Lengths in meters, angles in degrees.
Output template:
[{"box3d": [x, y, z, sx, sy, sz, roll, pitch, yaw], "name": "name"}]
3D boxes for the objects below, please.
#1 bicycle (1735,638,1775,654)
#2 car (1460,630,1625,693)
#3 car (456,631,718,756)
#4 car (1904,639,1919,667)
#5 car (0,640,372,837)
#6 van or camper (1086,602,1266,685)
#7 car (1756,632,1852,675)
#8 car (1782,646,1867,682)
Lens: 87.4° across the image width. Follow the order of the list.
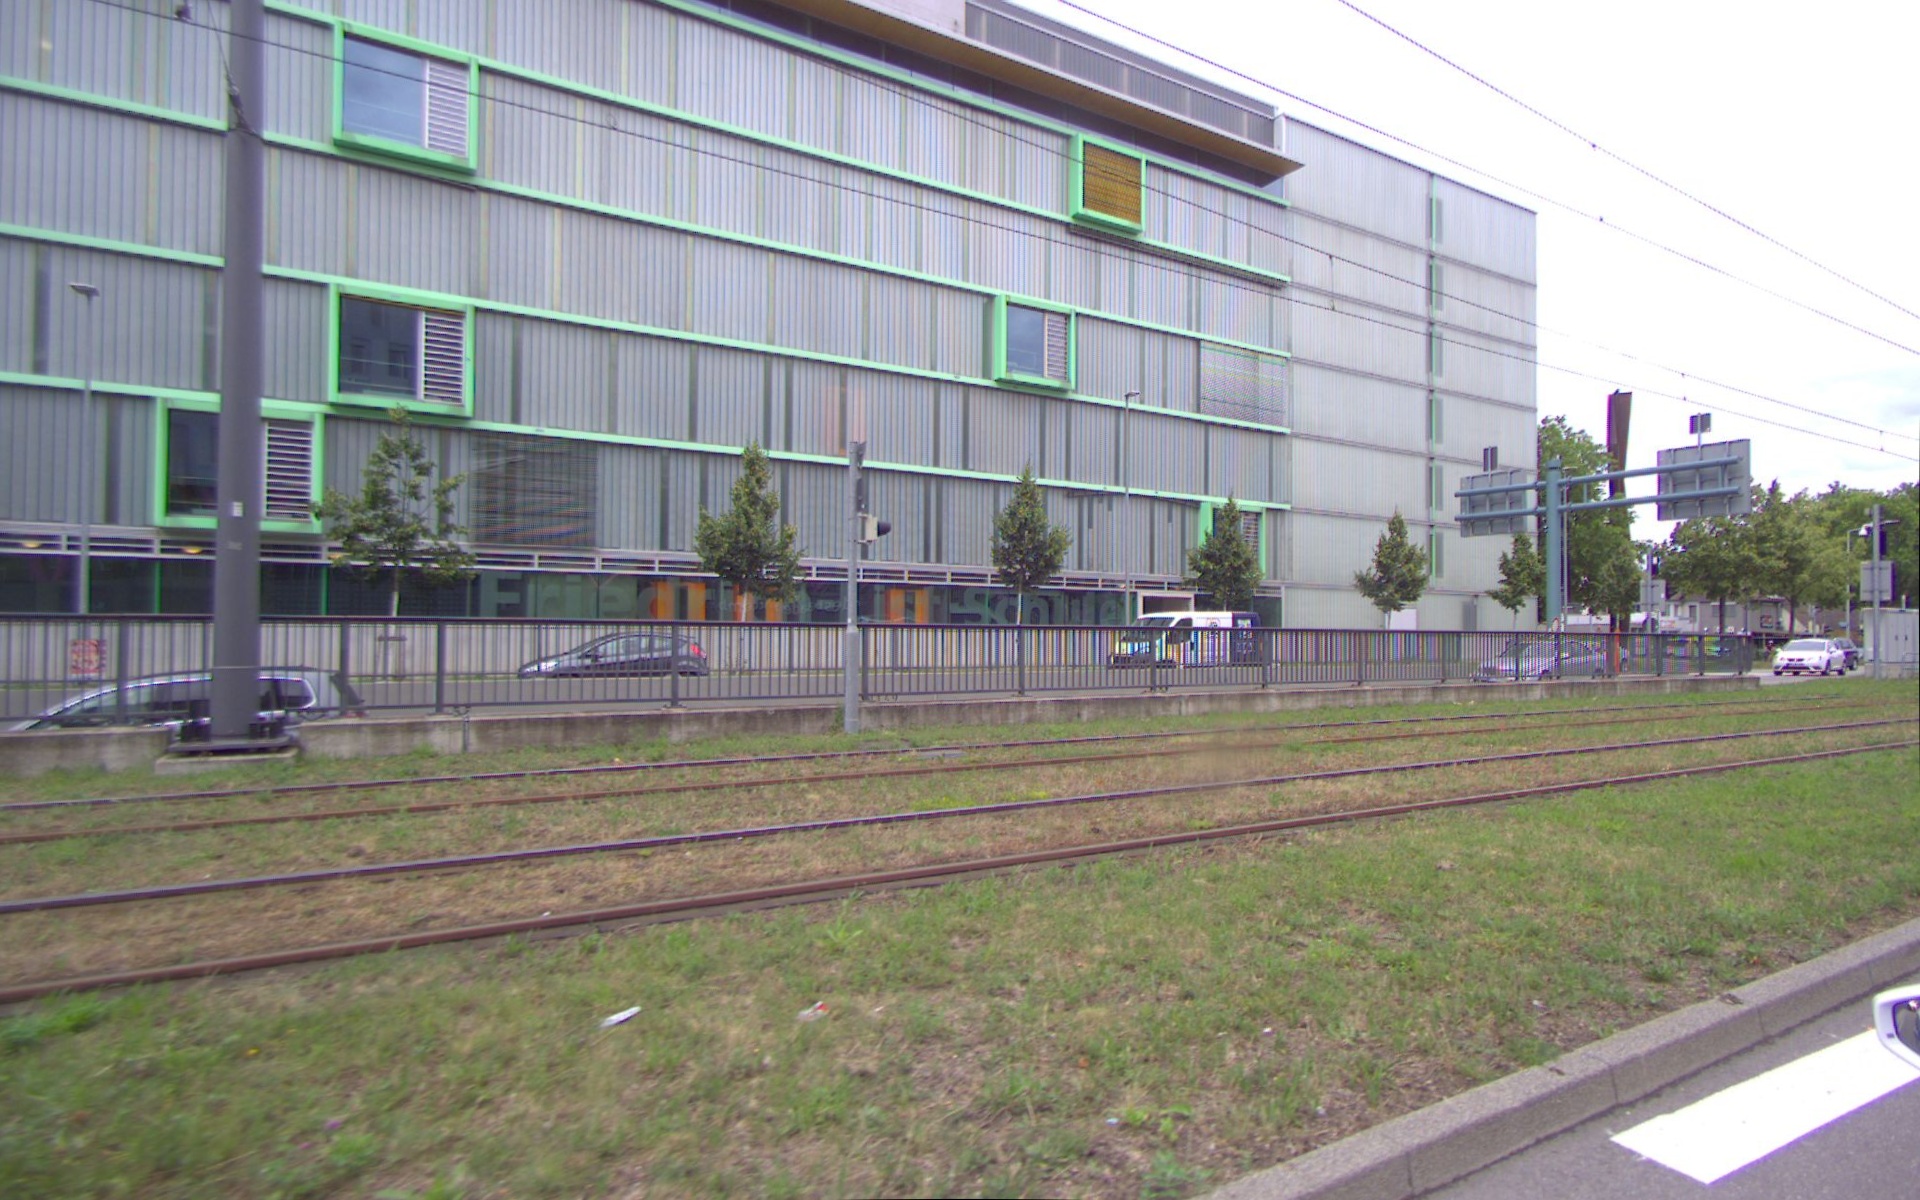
[{"box3d": [64.094, 3.715, 81.036, 2.474, 1.218, 0.738, 0, -2, 35], "name": "bicycle"}, {"box3d": [15.827, 1.605, 27.212, 4.915, 1.535, 1.773, 1, -1, -31], "name": "car"}, {"box3d": [-7.929, 1.868, 21.492, 4.914, 2.041, 1.983, -3, 2, -32], "name": "car"}, {"box3d": [52.118, 2.819, 53.334, 4.520, 1.498, 1.754, 2, -3, -31], "name": "car"}, {"box3d": [-9.832, 1.556, 11.848, 4.914, 1.787, 1.983, -3, 2, -32], "name": "car"}, {"box3d": [6.572, 1.286, 30.406, 5.296, 2.317, 2.162, 1, -2, -30], "name": "van or camper"}, {"box3d": [33.631, 2.087, 39.986, 4.337, 1.607, 1.980, 1, -2, -36], "name": "car"}, {"box3d": [46.809, 3.428, 54.381, 4.909, 1.847, 1.984, 2, -2, -30], "name": "car"}]
